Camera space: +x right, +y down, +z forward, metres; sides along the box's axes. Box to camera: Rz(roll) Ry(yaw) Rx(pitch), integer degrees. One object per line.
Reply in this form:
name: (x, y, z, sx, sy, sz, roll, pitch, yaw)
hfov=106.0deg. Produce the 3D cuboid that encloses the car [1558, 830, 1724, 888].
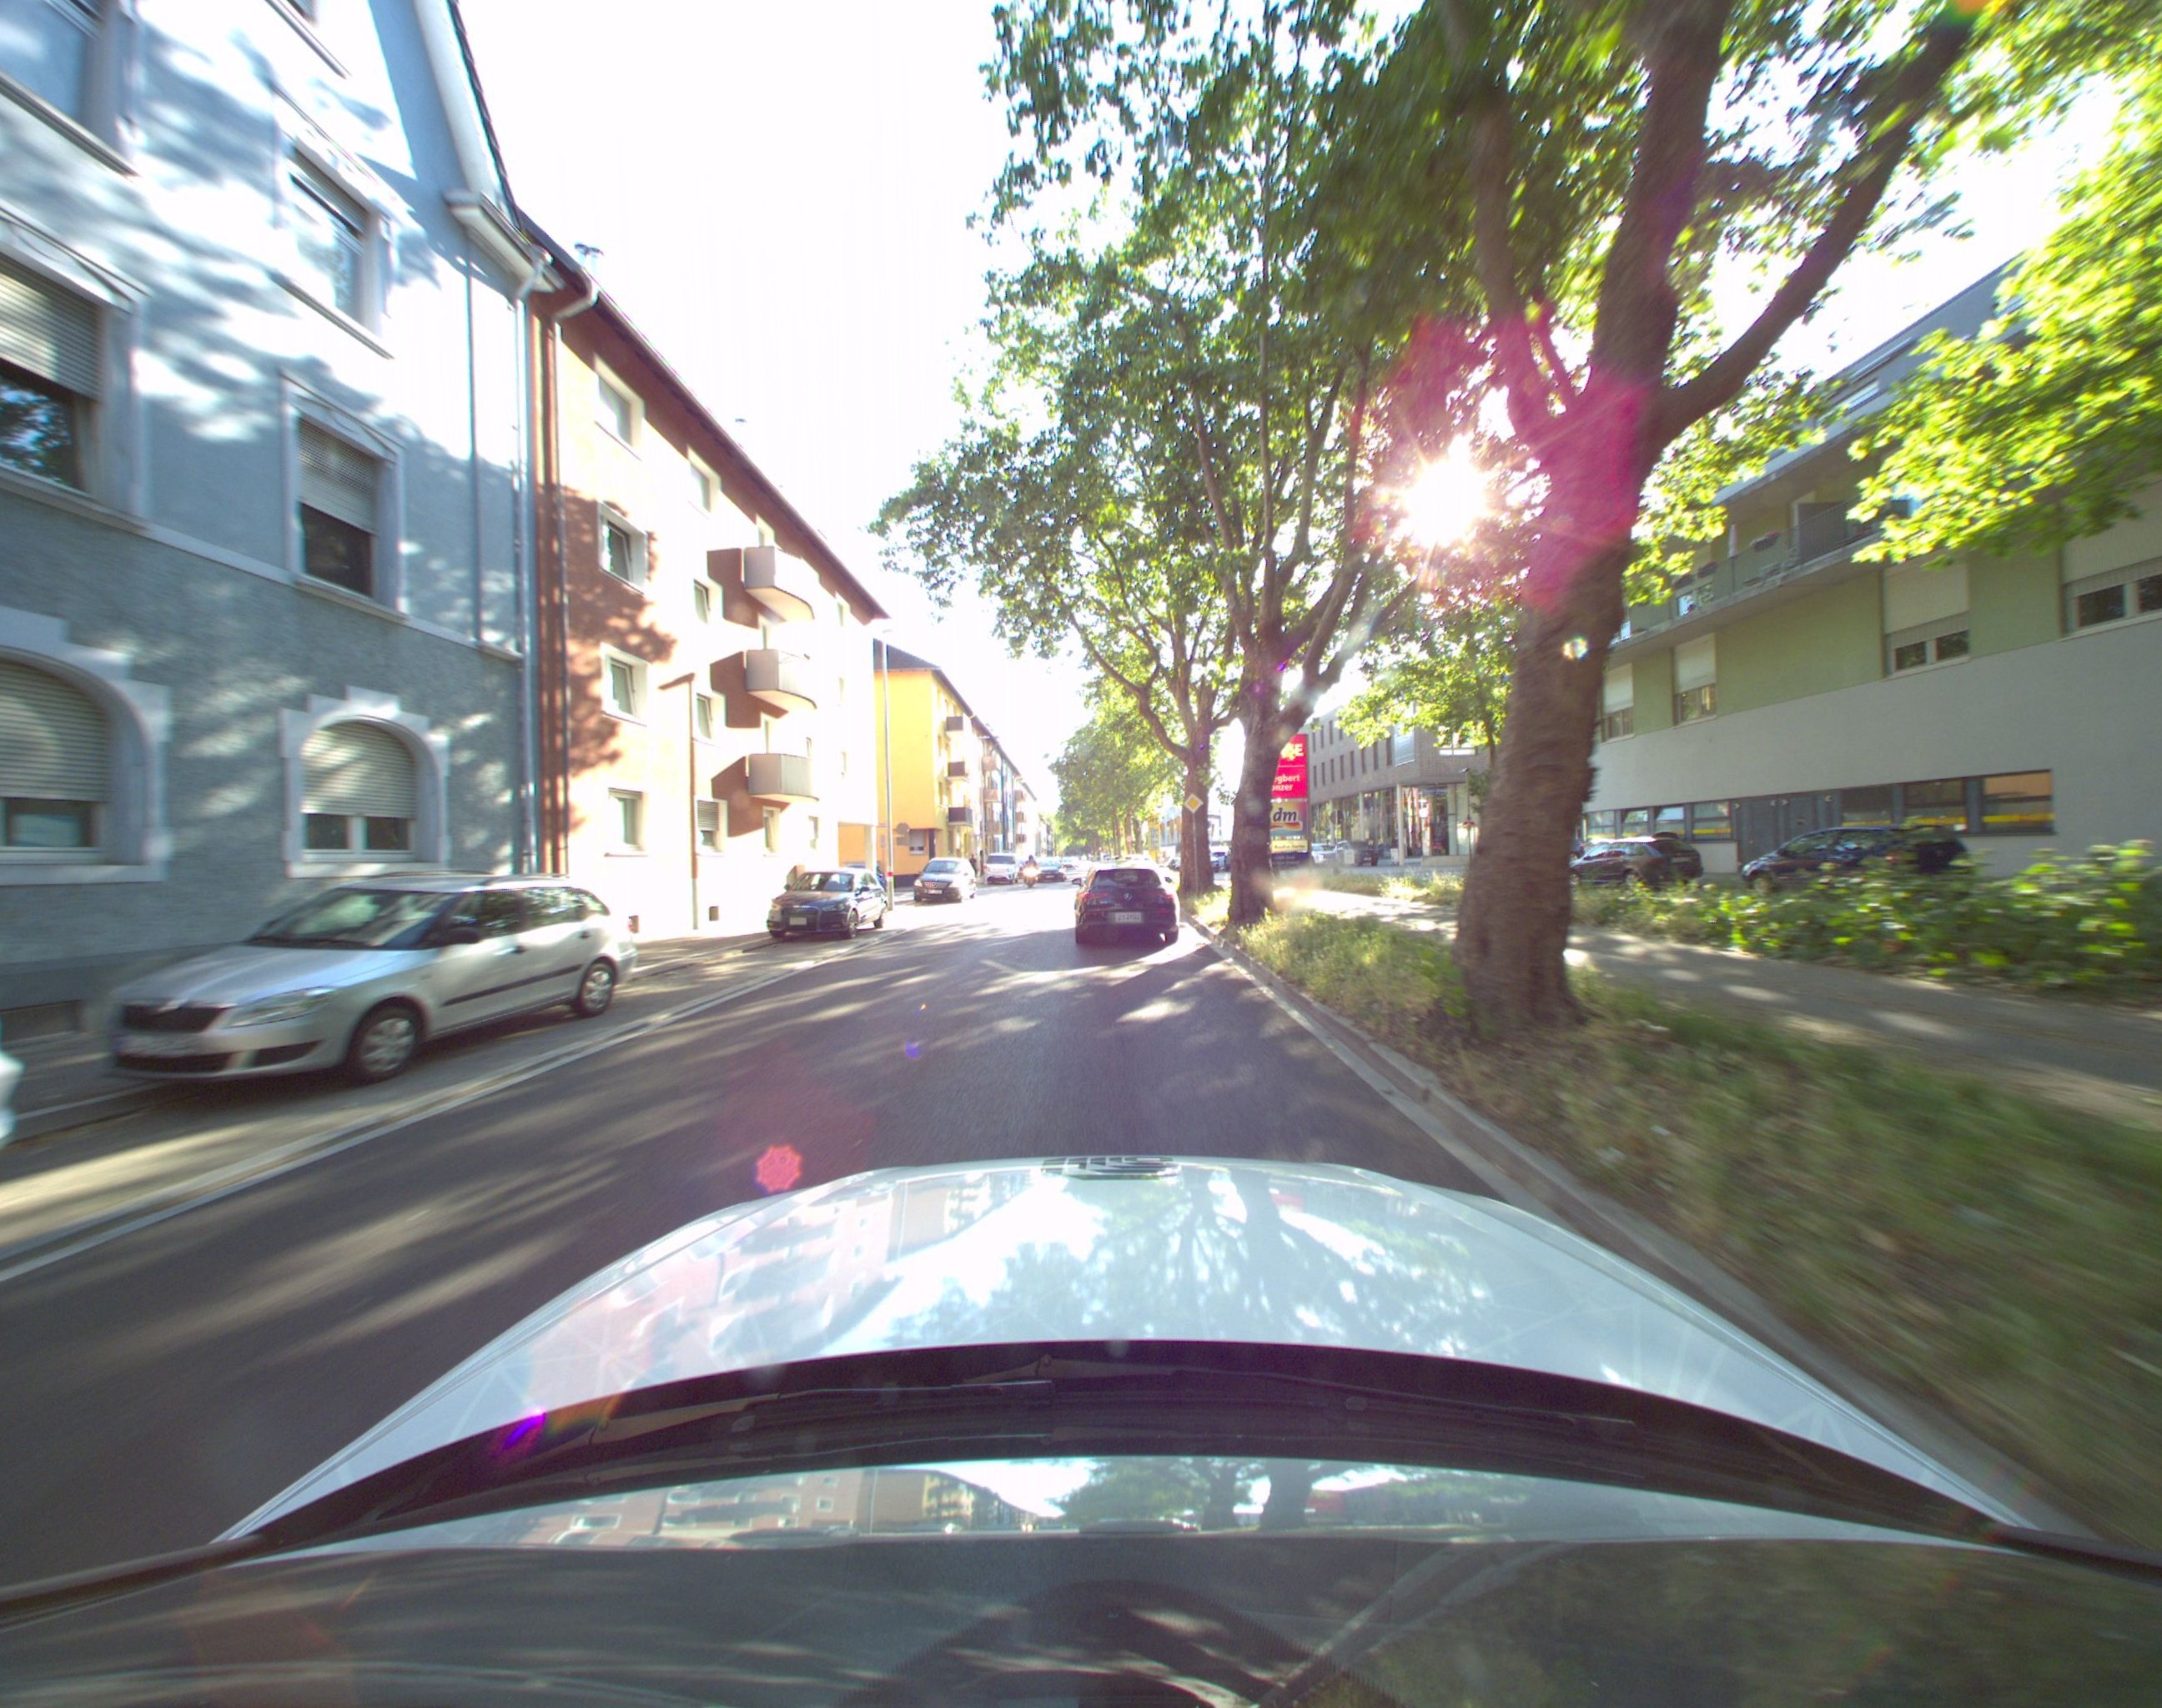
car: (15.798, 0.140, 23.265, 1.853, 1.468, 4.122, -2, 0, -1)

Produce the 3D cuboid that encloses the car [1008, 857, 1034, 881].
car: (-4.619, 1.125, 63.371, 1.740, 1.787, 4.547, 0, 0, -1)

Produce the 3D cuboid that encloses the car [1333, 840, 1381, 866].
car: (19.355, -0.073, 57.340, 1.978, 1.733, 4.181, -2, 0, 1)

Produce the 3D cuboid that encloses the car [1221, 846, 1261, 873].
car: (11.229, 0.371, 57.314, 1.821, 1.731, 4.365, -2, 0, -2)

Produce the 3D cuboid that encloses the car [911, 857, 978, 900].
car: (-5.075, 0.863, 30.727, 1.671, 1.524, 4.023, 0, 0, 2)

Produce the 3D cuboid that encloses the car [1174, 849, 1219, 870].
car: (10.157, 0.473, 71.549, 3.837, 1.578, 1.727, -3, 0, -37)

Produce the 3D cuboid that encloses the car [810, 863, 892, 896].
car: (-12.166, 1.354, 43.177, 3.770, 1.567, 1.749, -2, -1, 1)

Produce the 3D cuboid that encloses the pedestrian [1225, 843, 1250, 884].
pedestrian: (6.863, 0.414, 35.786, 0.768, 1.761, 0.661, -3, 0, -11)

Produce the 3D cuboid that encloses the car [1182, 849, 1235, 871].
car: (9.668, 0.455, 61.640, 3.834, 1.545, 1.645, -2, 0, -33)

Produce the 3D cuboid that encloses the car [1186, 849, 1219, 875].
car: (8.534, 0.551, 57.531, 1.746, 1.670, 4.158, -2, 0, 0)

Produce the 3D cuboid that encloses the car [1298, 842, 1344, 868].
car: (16.879, 0.067, 57.489, 1.870, 1.733, 4.177, -2, 0, -2)

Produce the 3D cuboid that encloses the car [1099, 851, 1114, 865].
car: (3.948, 0.628, 127.739, 1.989, 2.014, 3.995, -1, -2, -3)

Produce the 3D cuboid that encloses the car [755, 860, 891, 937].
car: (-5.483, 0.893, 17.785, 1.671, 1.486, 3.603, 0, 0, 2)

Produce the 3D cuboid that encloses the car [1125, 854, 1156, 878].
car: (3.974, 0.805, 54.880, 1.630, 1.468, 4.019, -3, -1, -1)

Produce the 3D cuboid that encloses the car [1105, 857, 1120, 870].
car: (3.889, 1.227, 102.410, 1.717, 1.557, 3.599, 0, -1, -1)

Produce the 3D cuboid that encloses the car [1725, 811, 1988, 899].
car: (15.622, 0.021, 16.735, 1.852, 1.552, 3.760, -2, 0, 1)

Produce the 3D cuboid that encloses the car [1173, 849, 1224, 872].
car: (9.259, 0.518, 64.197, 3.836, 1.609, 1.722, -3, 0, -35)

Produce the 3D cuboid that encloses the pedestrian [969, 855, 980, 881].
pedestrian: (-7.524, 1.001, 57.455, 0.585, 1.790, 0.642, -2, -1, 1)

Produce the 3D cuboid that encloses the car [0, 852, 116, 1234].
car: (-5.679, 0.808, 1.638, 1.900, 1.641, 4.580, 0, 0, 2)

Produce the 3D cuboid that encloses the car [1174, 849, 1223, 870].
car: (9.751, 0.457, 67.463, 3.837, 1.578, 1.722, -3, 0, -37)

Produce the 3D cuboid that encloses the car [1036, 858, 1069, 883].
car: (-1.802, 1.014, 52.807, 1.765, 1.478, 4.323, -2, 0, 1)

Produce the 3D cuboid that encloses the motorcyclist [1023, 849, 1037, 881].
motorcyclist: (-2.599, 0.570, 41.811, 0.584, 1.605, 0.831, -2, 0, 1)

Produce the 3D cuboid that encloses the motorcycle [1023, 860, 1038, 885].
motorcycle: (-2.583, 0.932, 41.766, 0.545, 1.241, 2.264, -4, -1, 1)

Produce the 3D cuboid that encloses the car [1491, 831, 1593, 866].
car: (25.338, -0.308, 44.884, 4.471, 1.662, 2.029, -3, 0, -2)

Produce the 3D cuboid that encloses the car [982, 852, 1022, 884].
car: (-4.863, 0.840, 50.861, 1.727, 1.907, 5.212, -1, 0, 2)

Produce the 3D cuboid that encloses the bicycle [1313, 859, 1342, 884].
bicycle: (10.037, 0.707, 33.173, 0.383, 1.003, 1.478, -2, 0, -15)

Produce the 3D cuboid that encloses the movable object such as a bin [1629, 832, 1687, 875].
movable object such as a bin: (20.331, -0.018, 28.748, 1.185, 1.463, 1.412, -2, 0, 12)

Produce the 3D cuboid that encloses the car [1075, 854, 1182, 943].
car: (0.799, 0.723, 15.228, 1.738, 1.443, 3.969, 0, 0, 1)

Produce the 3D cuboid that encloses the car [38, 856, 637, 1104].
car: (-6.033, 0.841, 7.406, 1.671, 1.641, 3.987, 0, 0, 2)

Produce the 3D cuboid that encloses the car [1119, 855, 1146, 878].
car: (3.877, 0.936, 61.711, 1.804, 1.539, 4.584, -4, -1, 1)
